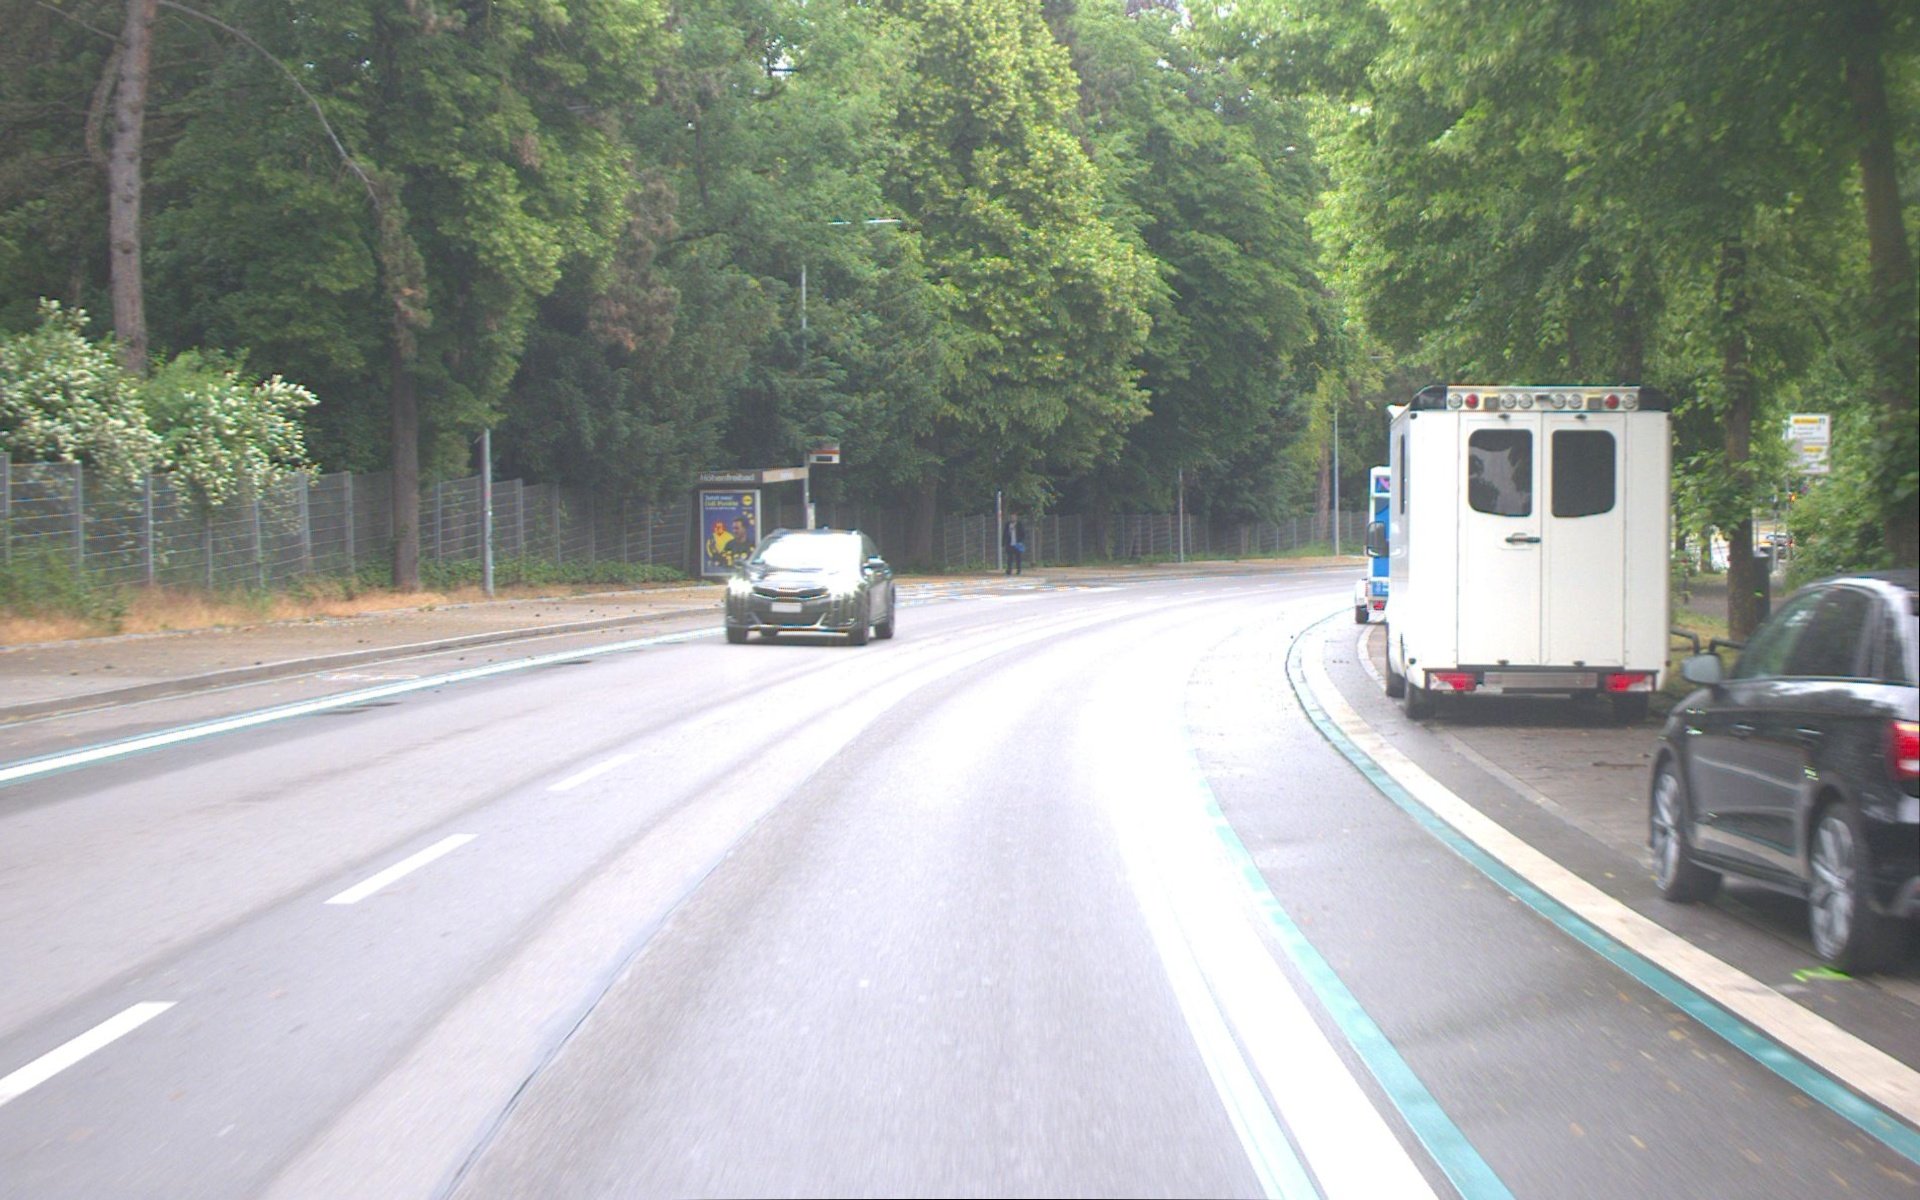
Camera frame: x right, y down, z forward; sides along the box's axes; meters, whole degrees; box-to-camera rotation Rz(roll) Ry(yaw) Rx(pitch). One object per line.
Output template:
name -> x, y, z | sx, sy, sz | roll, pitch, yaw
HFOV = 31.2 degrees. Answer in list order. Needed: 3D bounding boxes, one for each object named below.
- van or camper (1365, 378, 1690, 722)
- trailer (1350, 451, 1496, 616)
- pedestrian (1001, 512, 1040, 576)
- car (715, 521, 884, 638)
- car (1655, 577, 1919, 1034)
van or camper -> 4.792, -0.474, 29.983 | 2.317, 2.655, 6.381 | 1, 1, 5
trailer -> 7.946, -1.154, 58.846 | 2.317, 2.663, 5.375 | 1, 1, 8
pedestrian -> 1.669, -1.552, 94.495 | 0.887, 1.727, 1.146 | 1, 1, 9
car -> -2.070, -0.306, 45.308 | 1.760, 1.432, 4.150 | 1, 2, 4
car -> 3.753, 0.613, 12.394 | 1.678, 1.371, 4.000 | 0, 1, 0
